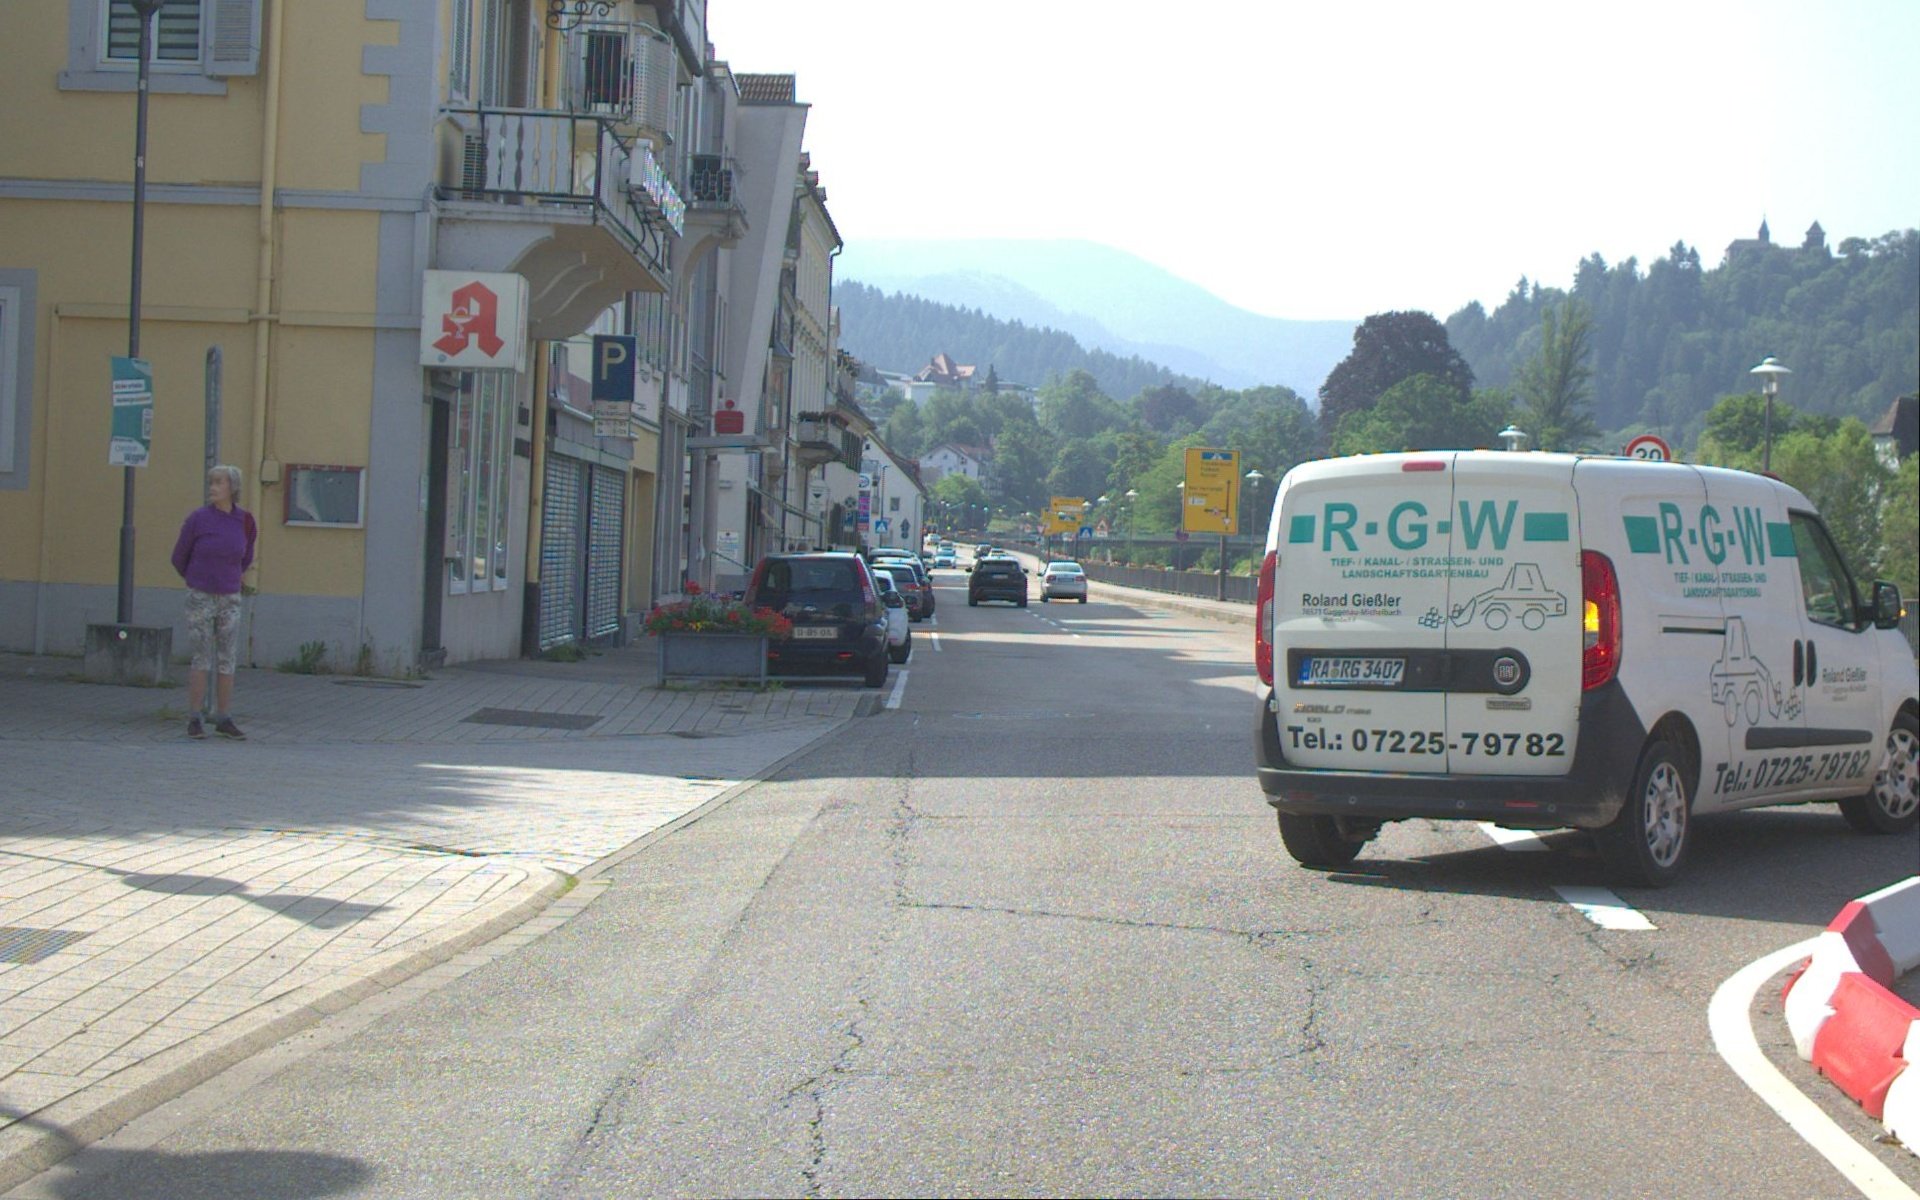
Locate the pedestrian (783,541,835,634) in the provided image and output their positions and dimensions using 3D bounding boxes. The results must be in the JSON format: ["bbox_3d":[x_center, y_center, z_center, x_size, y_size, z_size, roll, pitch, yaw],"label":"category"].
[{"bbox_3d":[-2.790,-0.229,63.548,0.690,1.690,0.659,2,1,28],"label":"pedestrian"}]

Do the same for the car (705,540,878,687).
[{"bbox_3d":[-1.891,0.127,39.455,1.846,1.563,3.568,1,1,-1],"label":"car"}]

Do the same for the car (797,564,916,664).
[{"bbox_3d":[-1.579,0.185,53.112,1.747,1.443,3.795,1,1,-1],"label":"car"}]

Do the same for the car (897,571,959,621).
[{"bbox_3d":[-0.853,-0.121,89.349,1.563,1.216,3.276,1,1,-1],"label":"car"}]

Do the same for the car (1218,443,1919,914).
[{"bbox_3d":[3.067,0.237,16.152,1.848,1.899,4.307,2,2,33],"label":"car"}]

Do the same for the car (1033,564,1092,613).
[{"bbox_3d":[3.722,-0.433,125.556,1.993,1.656,4.000,3,1,0],"label":"car"}]

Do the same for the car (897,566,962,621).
[{"bbox_3d":[-0.857,-0.197,95.332,1.747,1.443,3.276,1,1,-1],"label":"car"}]

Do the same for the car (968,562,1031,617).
[{"bbox_3d":[1.293,-0.363,113.575,1.993,1.656,4.000,3,1,0],"label":"car"}]

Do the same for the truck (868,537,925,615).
[{"bbox_3d":[-2.075,-0.793,111.909,1.747,2.459,4.662,1,1,-1],"label":"truck"}]

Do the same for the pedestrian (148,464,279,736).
[{"bbox_3d":[-4.826,-0.010,22.258,0.678,1.708,0.617,2,1,-3],"label":"pedestrian"}]
